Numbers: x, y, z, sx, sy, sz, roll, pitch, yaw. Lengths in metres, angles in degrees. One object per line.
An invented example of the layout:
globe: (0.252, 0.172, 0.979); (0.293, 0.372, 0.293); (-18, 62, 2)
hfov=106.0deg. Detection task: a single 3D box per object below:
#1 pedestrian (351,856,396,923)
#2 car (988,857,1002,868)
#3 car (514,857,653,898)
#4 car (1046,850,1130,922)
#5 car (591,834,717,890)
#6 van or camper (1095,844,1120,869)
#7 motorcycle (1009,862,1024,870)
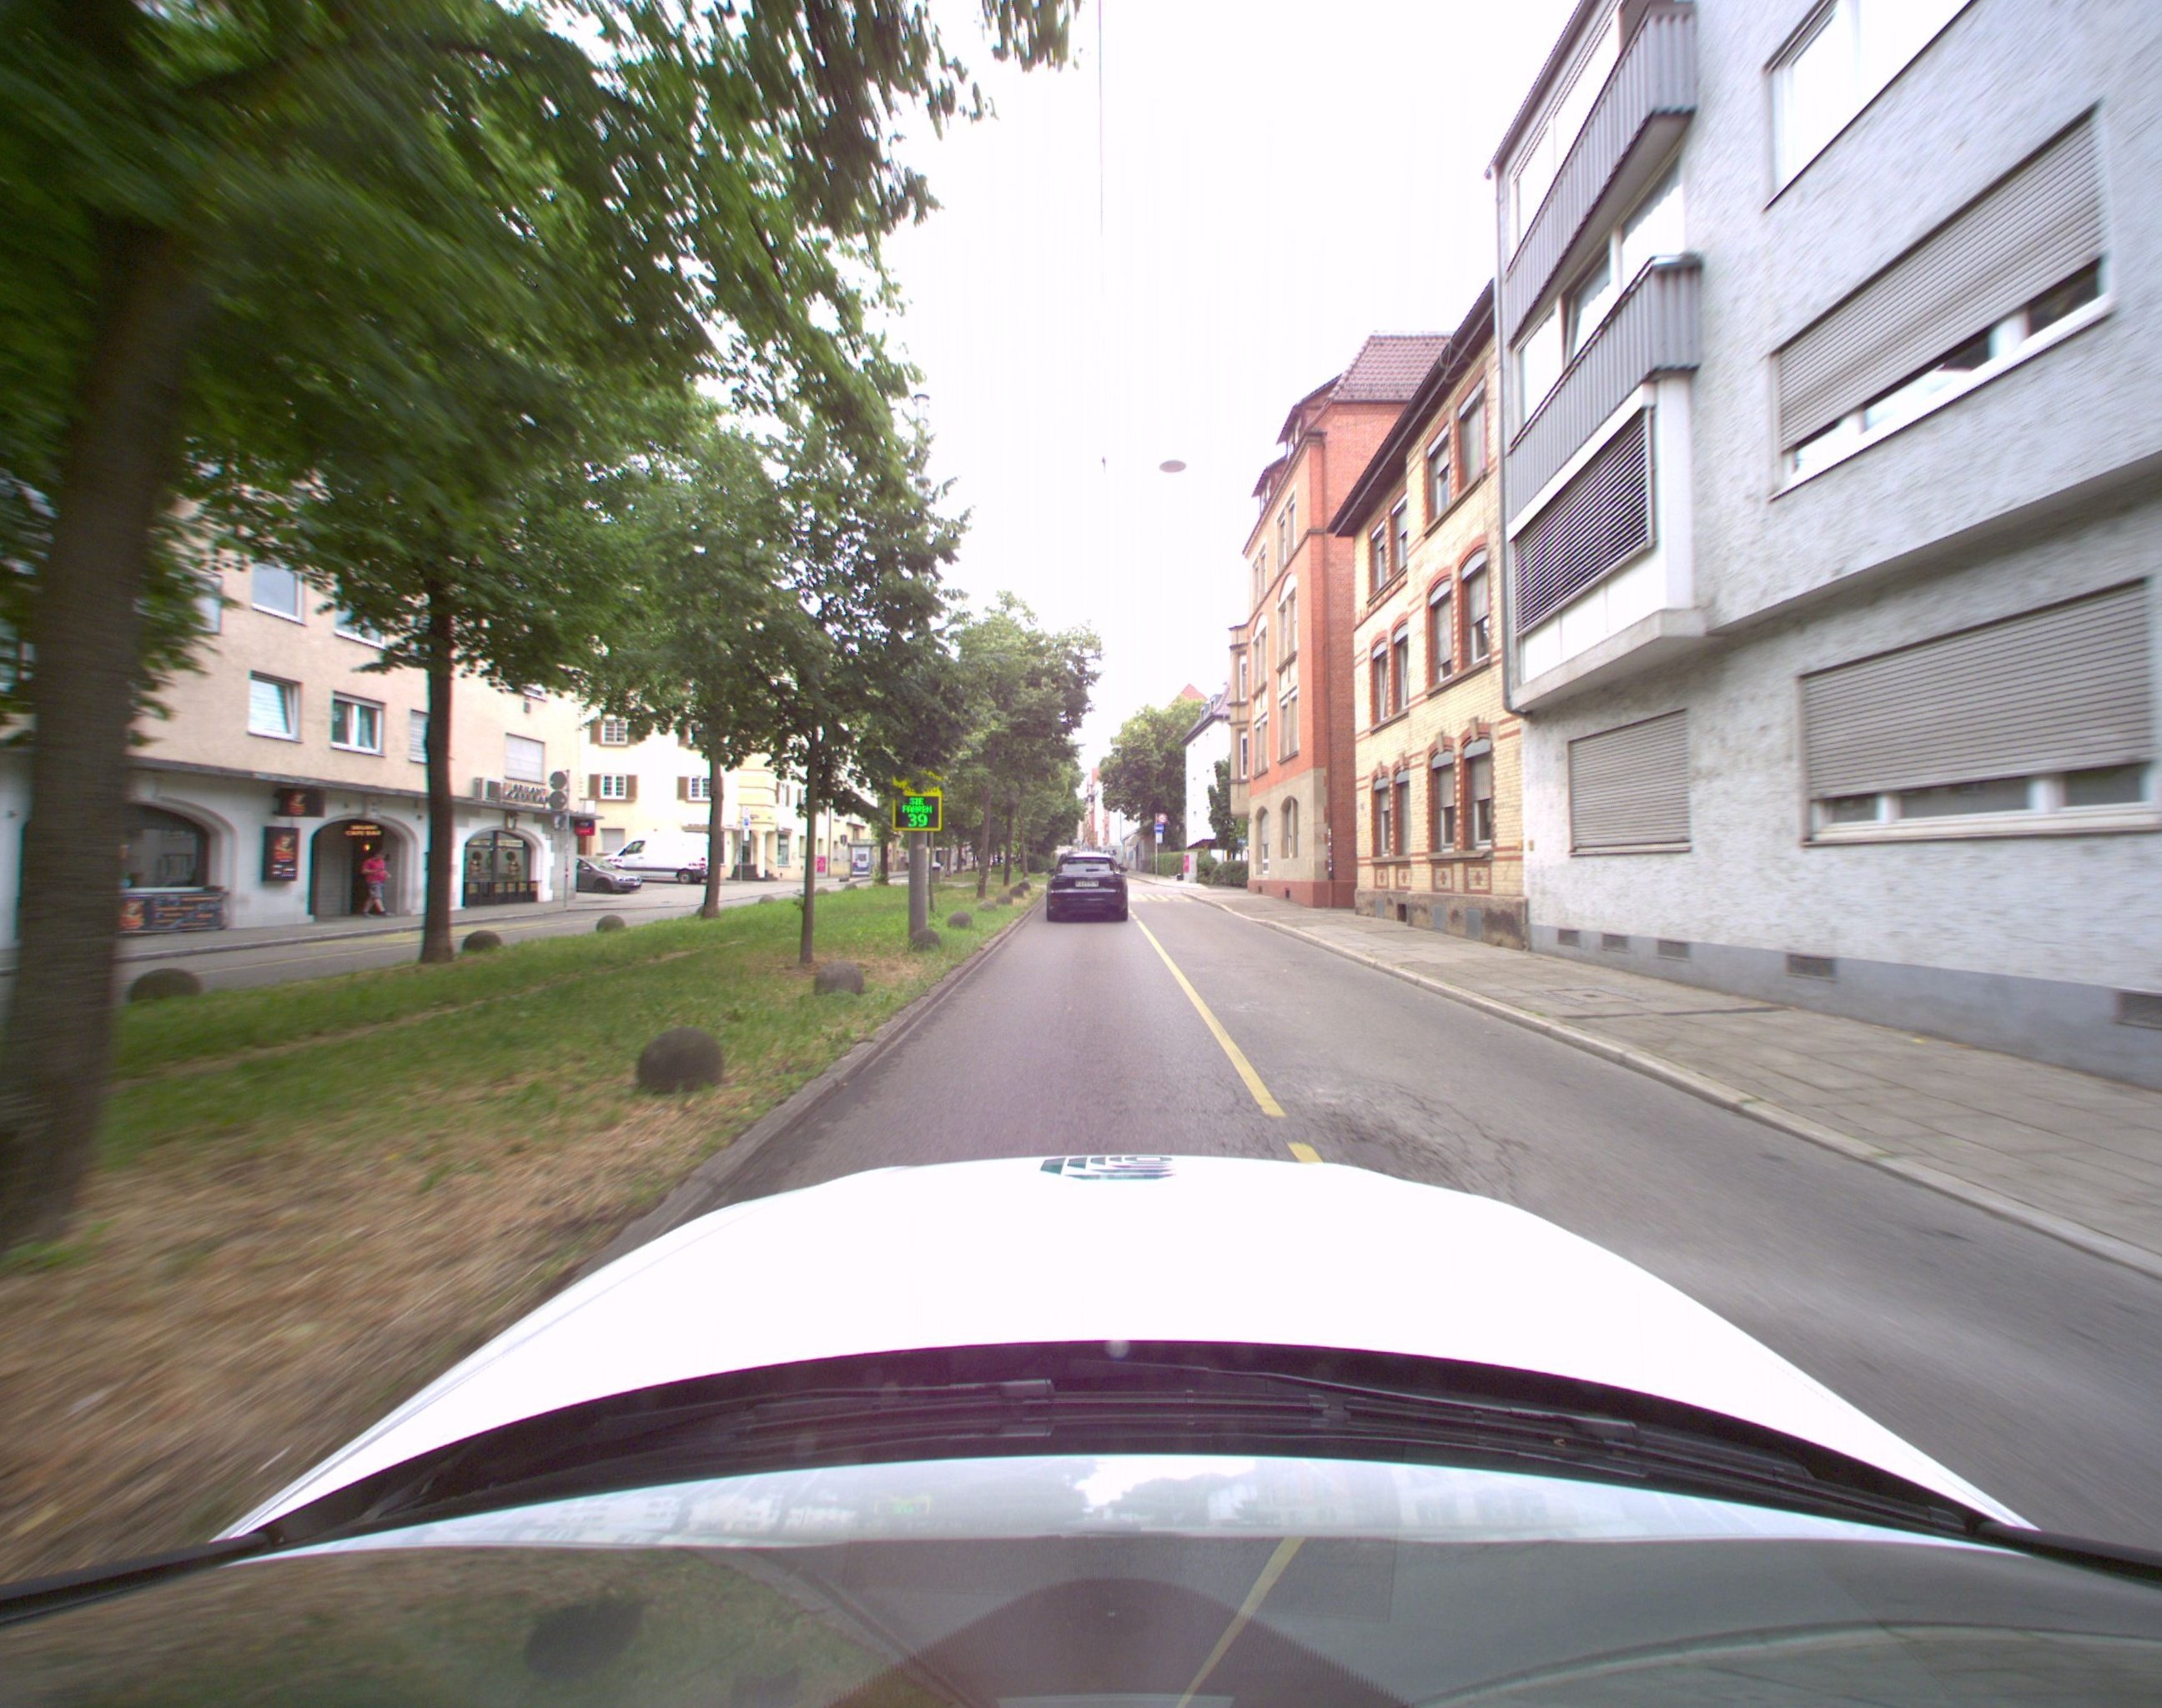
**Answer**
pedestrian: (-18.080, 0.897, 20.812); (0.530, 1.666, 0.701); (-1, -1, 1)
car: (-14.853, 1.431, 140.798); (1.945, 1.628, 4.360); (-8, 0, -3)
car: (-19.949, 0.934, 32.801); (4.273, 1.420, 2.048); (2, 0, 0)
car: (0.075, 0.765, 20.984); (1.899, 1.666, 4.130); (0, -1, -3)
car: (-21.635, 0.410, 41.502); (5.172, 2.736, 2.170); (1, -1, -10)
van or camper: (3.022, 0.308, 94.194); (2.473, 2.803, 7.234); (0, -1, -1)
motorcycle: (-10.361, 1.905, 130.862); (2.377, 1.317, 1.044); (0, -1, -4)
